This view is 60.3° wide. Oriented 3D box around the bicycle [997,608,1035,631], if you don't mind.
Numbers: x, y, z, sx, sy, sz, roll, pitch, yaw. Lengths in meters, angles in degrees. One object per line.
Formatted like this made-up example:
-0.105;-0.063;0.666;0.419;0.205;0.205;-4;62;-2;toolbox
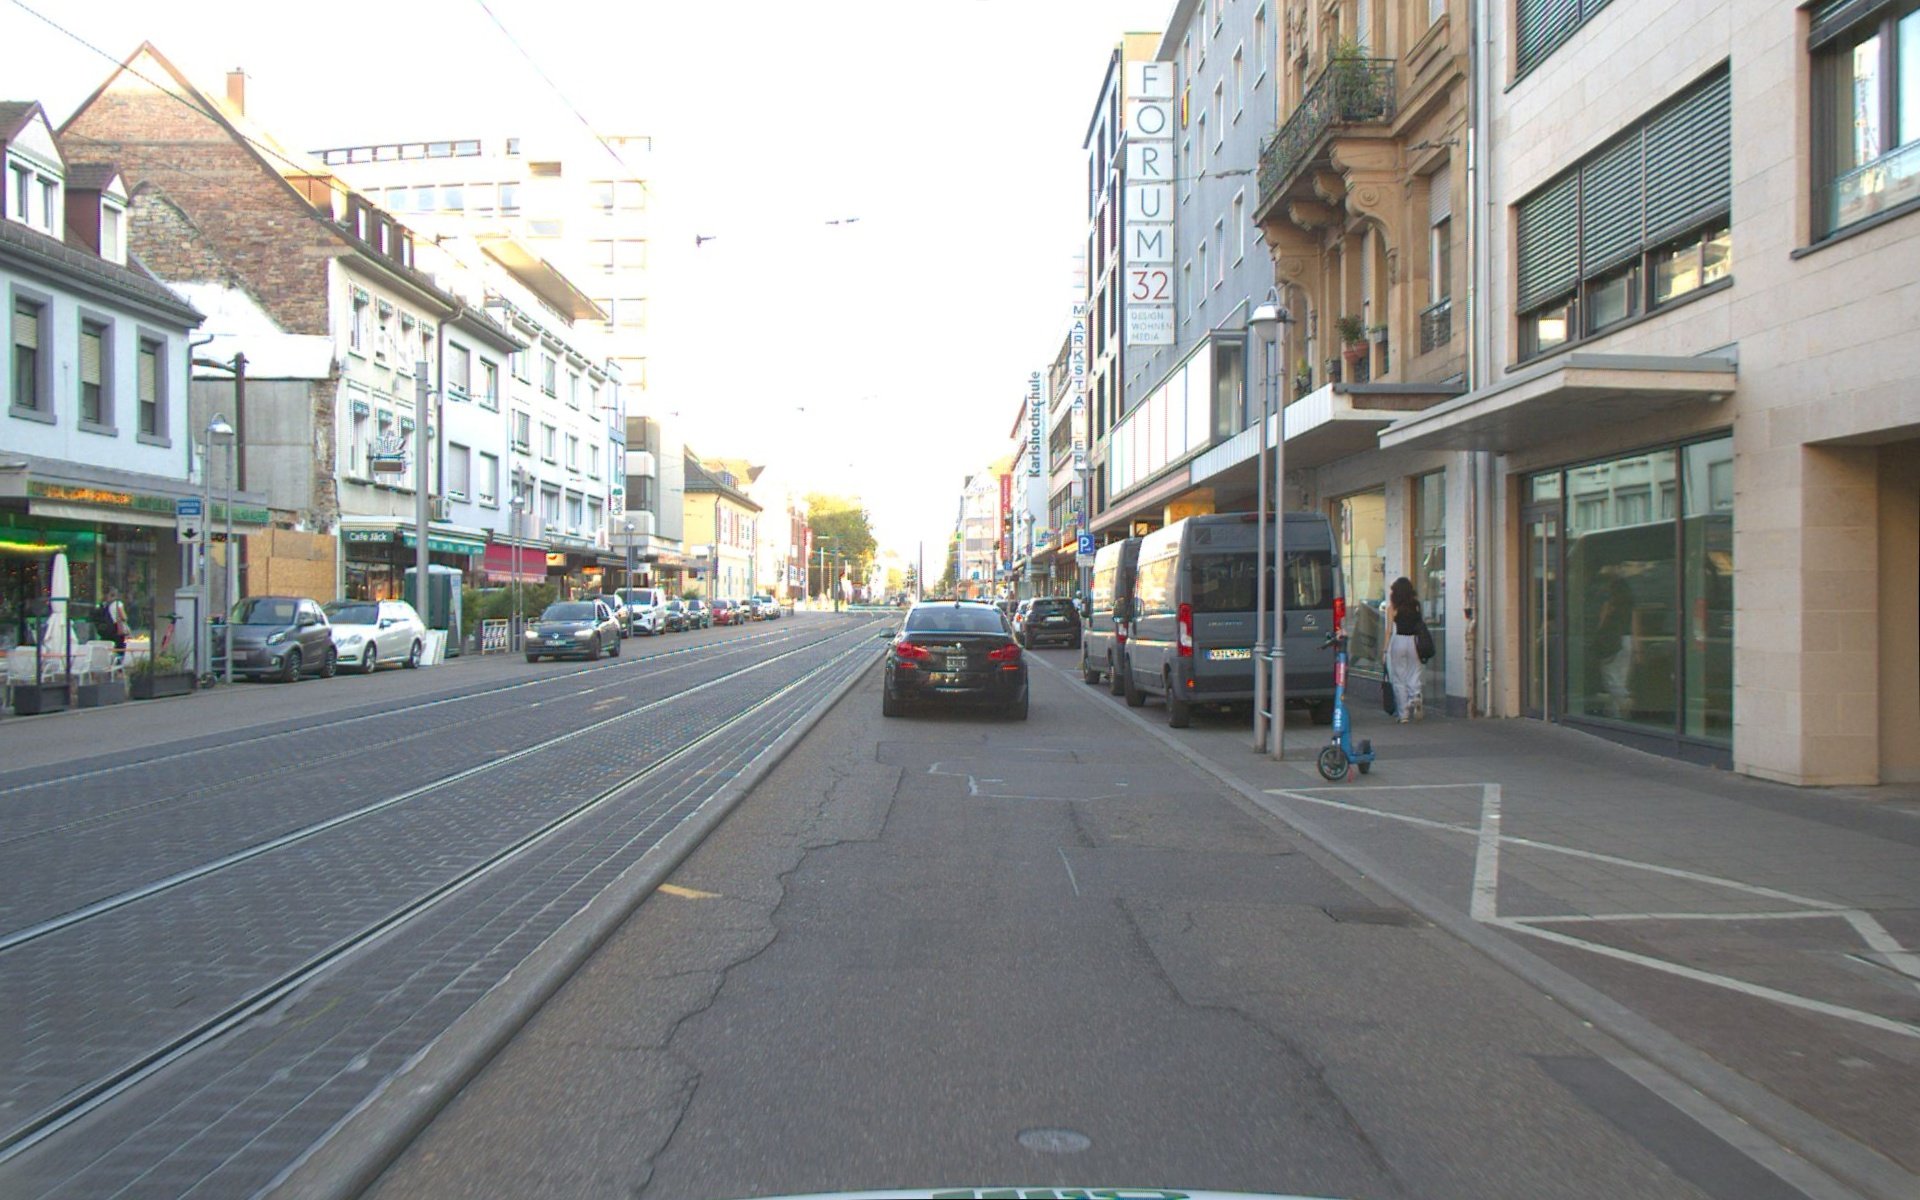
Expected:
2.715;0.963;79.813;1.823;1.099;0.468;0;-1;0;bicycle

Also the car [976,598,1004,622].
1.998;0.701;110.488;1.738;1.576;3.502;0;-1;-1;car

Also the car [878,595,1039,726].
0.009;0.738;22.314;1.913;1.524;4.465;2;0;1;car

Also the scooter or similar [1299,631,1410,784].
3.436;0.905;14.363;0.490;1.241;1.260;0;0;36;scooter or similar

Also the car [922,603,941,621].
-2.636;1.133;154.116;1.738;1.576;3.502;0;-1;-1;car

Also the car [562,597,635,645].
-13.622;0.762;62.548;1.822;1.707;4.463;1;0;-1;car

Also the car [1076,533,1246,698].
3.313;0.233;28.419;1.992;2.498;5.407;-2;0;-2;car

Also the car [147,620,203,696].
-13.155;0.961;27.738;0.768;1.256;0.339;0;0;-3;car

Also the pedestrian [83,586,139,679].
-15.447;0.582;30.112;0.649;1.673;0.694;0;0;-1;pedestrian

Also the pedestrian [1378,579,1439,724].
5.257;0.596;19.405;0.539;1.673;0.533;-1;0;-1;pedestrian

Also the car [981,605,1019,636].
2.127;1.104;88.877;1.864;1.576;3.999;0;-1;-1;car

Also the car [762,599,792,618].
-14.676;0.669;132.794;1.889;1.460;4.245;1;0;-1;car

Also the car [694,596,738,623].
-13.881;0.536;94.304;1.889;1.460;4.245;1;0;-1;car

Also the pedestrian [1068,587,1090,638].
4.232;0.446;58.708;0.674;1.771;0.821;-2;0;1;pedestrian

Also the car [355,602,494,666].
-13.003;0.795;40.448;1.952;1.478;4.330;0;0;0;car

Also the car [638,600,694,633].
-13.809;0.766;77.830;1.889;1.460;4.245;1;0;-1;car

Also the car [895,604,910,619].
-7.810;1.552;224.896;1.953;1.870;3.998;0;-3;-1;car

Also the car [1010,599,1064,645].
2.581;0.720;55.982;1.528;1.467;3.708;-2;0;-1;car

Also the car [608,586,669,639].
-13.554;0.509;70.010;1.954;2.194;4.907;0;0;-4;car

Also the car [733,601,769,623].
-14.234;0.802;112.830;1.889;1.460;4.245;0;0;-1;car

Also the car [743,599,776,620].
-14.381;0.654;118.758;1.889;1.460;4.245;1;0;-1;car

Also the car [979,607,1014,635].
2.102;1.213;95.928;1.864;1.576;3.779;0;-1;-1;car

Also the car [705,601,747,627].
-14.007;0.829;99.233;1.889;1.460;4.245;1;0;-1;car

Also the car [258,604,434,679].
-12.991;0.823;35.336;1.952;1.478;4.822;0;0;0;car

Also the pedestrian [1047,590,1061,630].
4.389;0.469;77.217;0.542;1.823;0.759;-1;0;-1;pedestrian

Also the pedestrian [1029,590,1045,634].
2.937;0.463;63.081;0.545;1.676;0.759;-1;0;-2;pedestrian

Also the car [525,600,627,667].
-9.674;0.811;41.993;1.658;1.478;4.463;-3;0;-3;car

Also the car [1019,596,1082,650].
2.758;0.683;50.825;1.621;1.564;3.885;-1;0;-1;car

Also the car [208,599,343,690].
-12.736;0.800;30.898;1.447;1.605;2.793;0;0;-3;car

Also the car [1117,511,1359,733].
3.468;0.249;21.964;2.050;2.498;6.031;-1;0;-1;car

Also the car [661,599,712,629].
-13.942;0.675;84.521;1.889;1.460;4.245;1;0;-1;car

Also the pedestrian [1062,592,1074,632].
5.033;0.547;77.007;0.497;1.824;0.760;-1;0;-1;pedestrian
